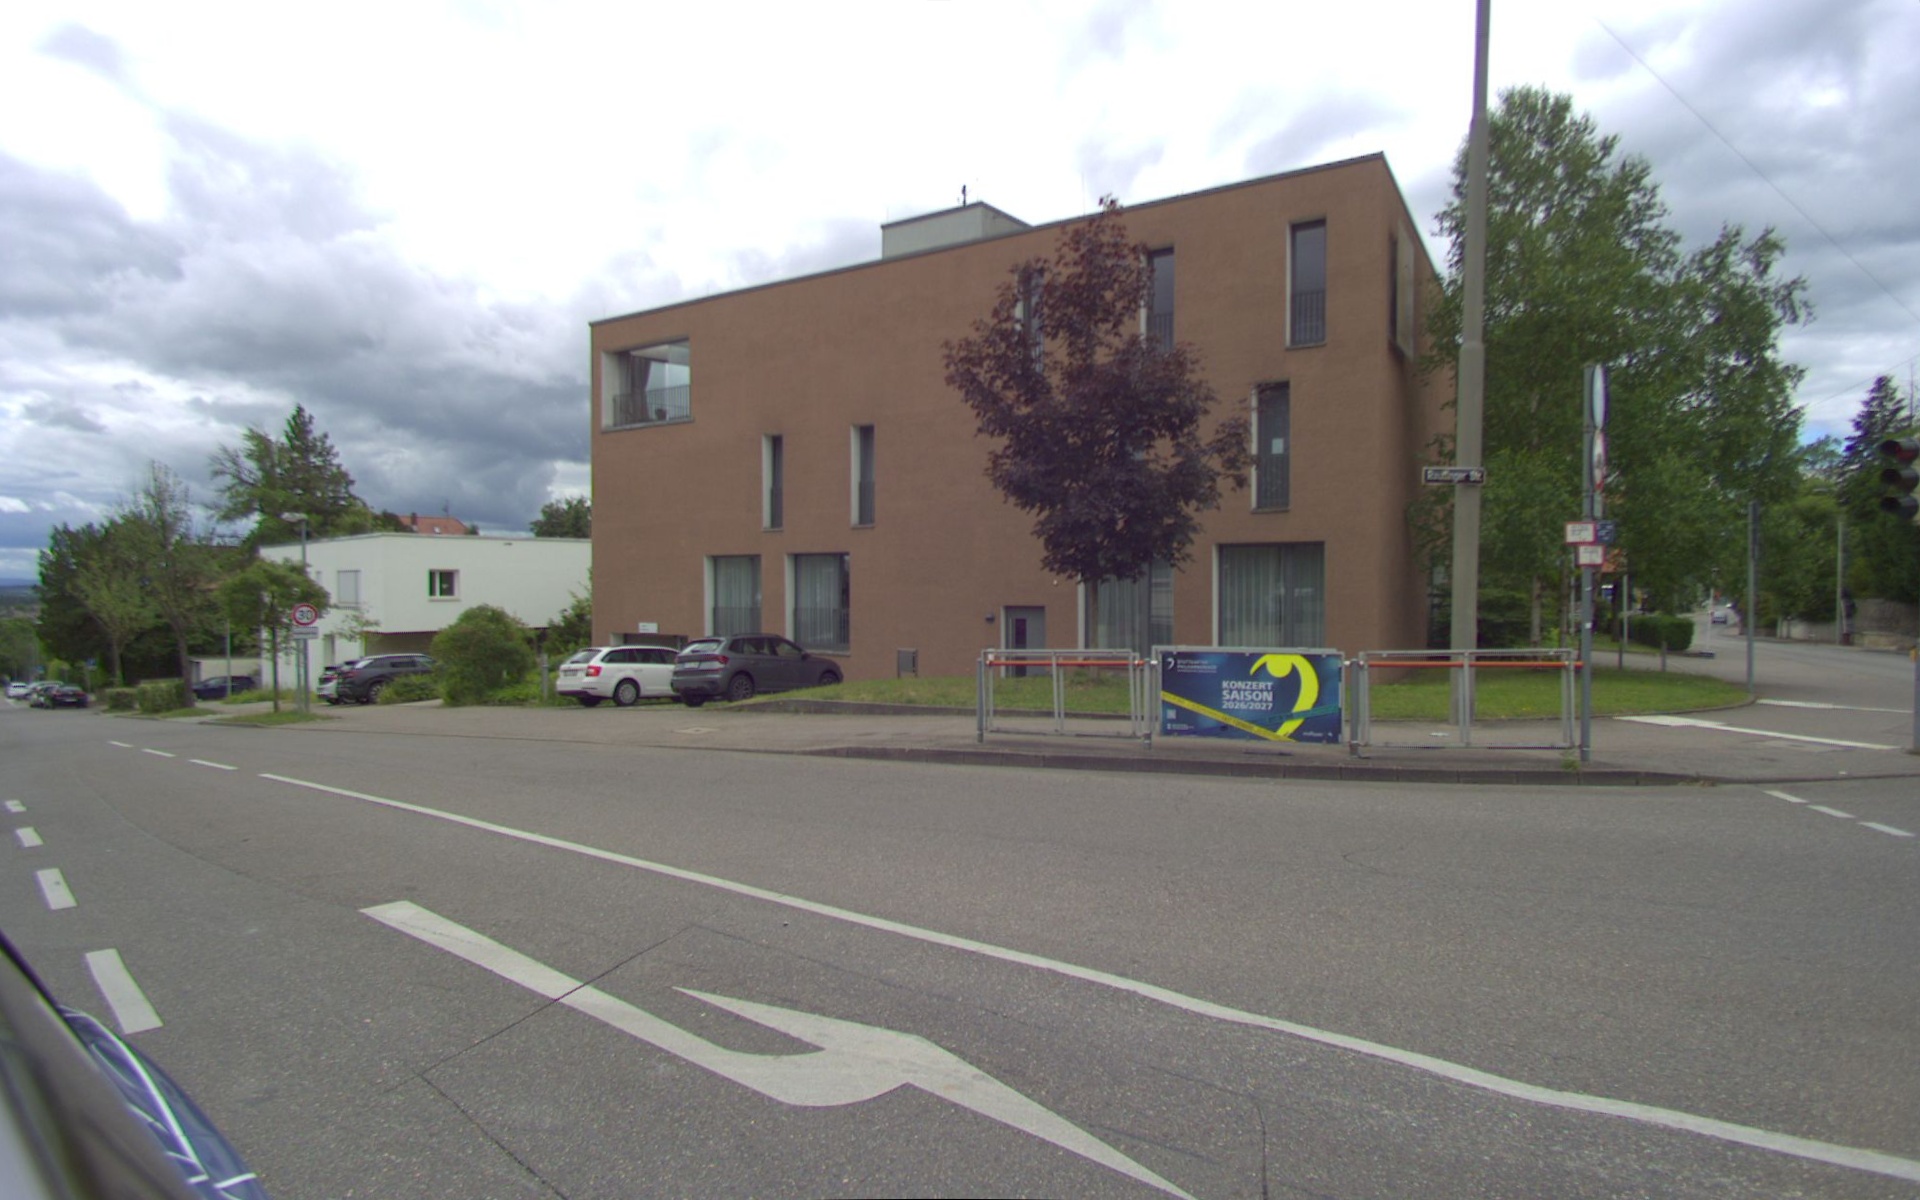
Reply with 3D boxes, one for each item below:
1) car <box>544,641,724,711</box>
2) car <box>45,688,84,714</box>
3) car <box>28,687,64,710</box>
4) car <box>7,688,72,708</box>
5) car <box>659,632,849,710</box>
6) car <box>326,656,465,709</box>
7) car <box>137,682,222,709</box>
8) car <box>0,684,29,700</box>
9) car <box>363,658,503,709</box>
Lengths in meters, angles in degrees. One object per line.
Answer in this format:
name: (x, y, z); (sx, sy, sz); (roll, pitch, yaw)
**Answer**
car: (-8.003, 1.847, 25.119); (1.724, 1.497, 3.950); (-5, -4, 37)
car: (-54.942, 6.173, 62.062); (1.638, 1.432, 4.003); (0, -4, -44)
car: (-61.565, 6.632, 68.140); (1.638, 1.432, 4.371); (0, -4, -44)
car: (-81.905, 8.711, 90.115); (1.713, 1.497, 3.975); (-4, -3, 19)
car: (-4.486, 1.527, 22.505); (1.724, 1.497, 3.950); (-5, -4, 37)
car: (-19.980, 2.900, 35.930); (1.793, 1.608, 3.943); (-6, -4, 43)
car: (-46.979, 5.741, 60.928); (3.939, 1.296, 1.665); (0, -4, -43)
car: (-95.917, 9.304, 102.344); (4.362, 1.432, 1.861); (-3, -3, 38)
car: (-18.238, 2.880, 35.145); (1.727, 1.497, 3.943); (-6, -4, 43)
